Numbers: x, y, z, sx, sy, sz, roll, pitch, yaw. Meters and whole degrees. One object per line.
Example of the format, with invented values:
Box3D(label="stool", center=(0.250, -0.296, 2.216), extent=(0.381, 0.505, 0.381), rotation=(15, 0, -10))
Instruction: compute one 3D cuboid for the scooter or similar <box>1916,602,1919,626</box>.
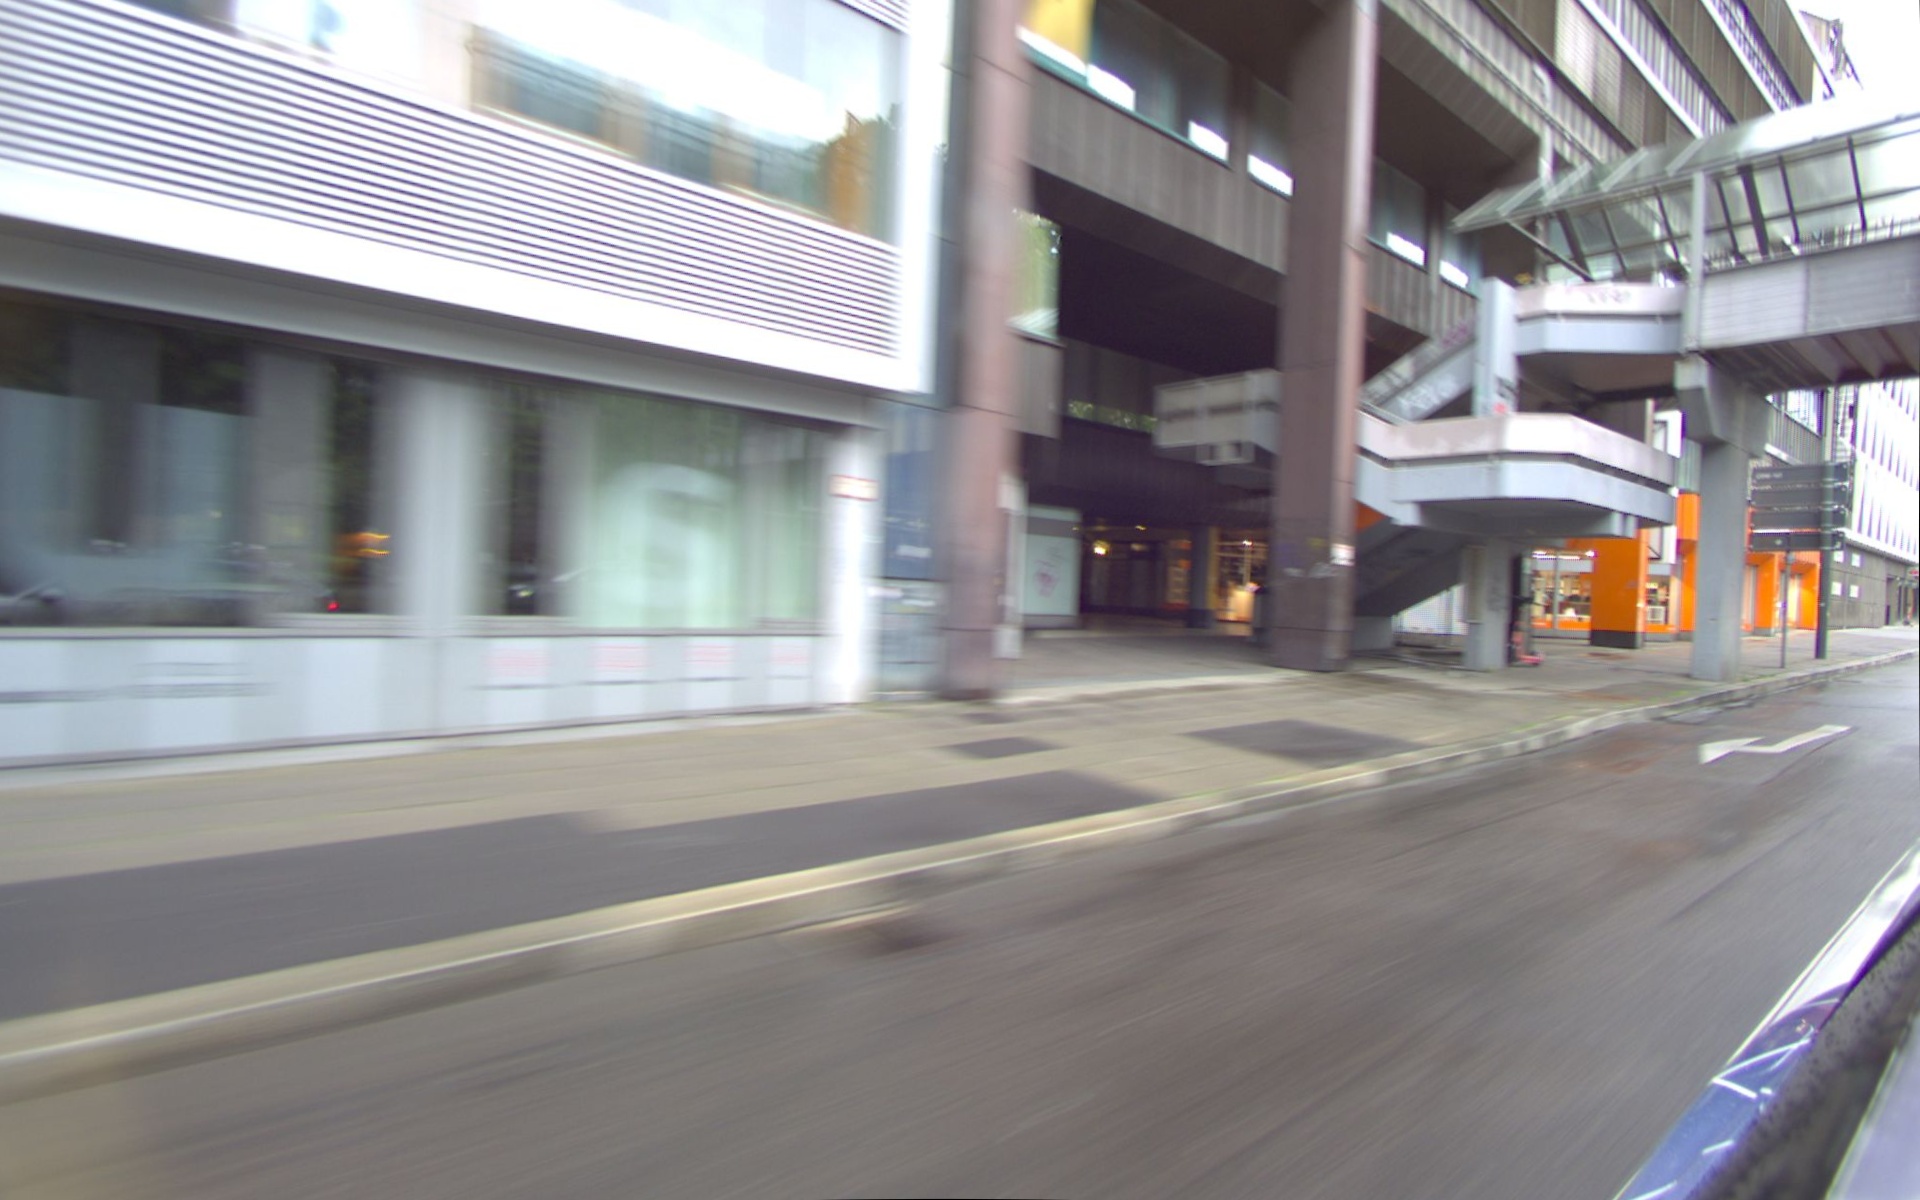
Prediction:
Box3D(label="scooter or similar", center=(51.779, 0.758, 54.292), extent=(1.165, 1.252, 0.413), rotation=(1, 0, -32))

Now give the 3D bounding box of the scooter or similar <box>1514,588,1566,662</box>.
Box3D(label="scooter or similar", center=(10.369, 0.435, 18.093), extent=(1.370, 1.271, 0.350), rotation=(1, 1, -41))
